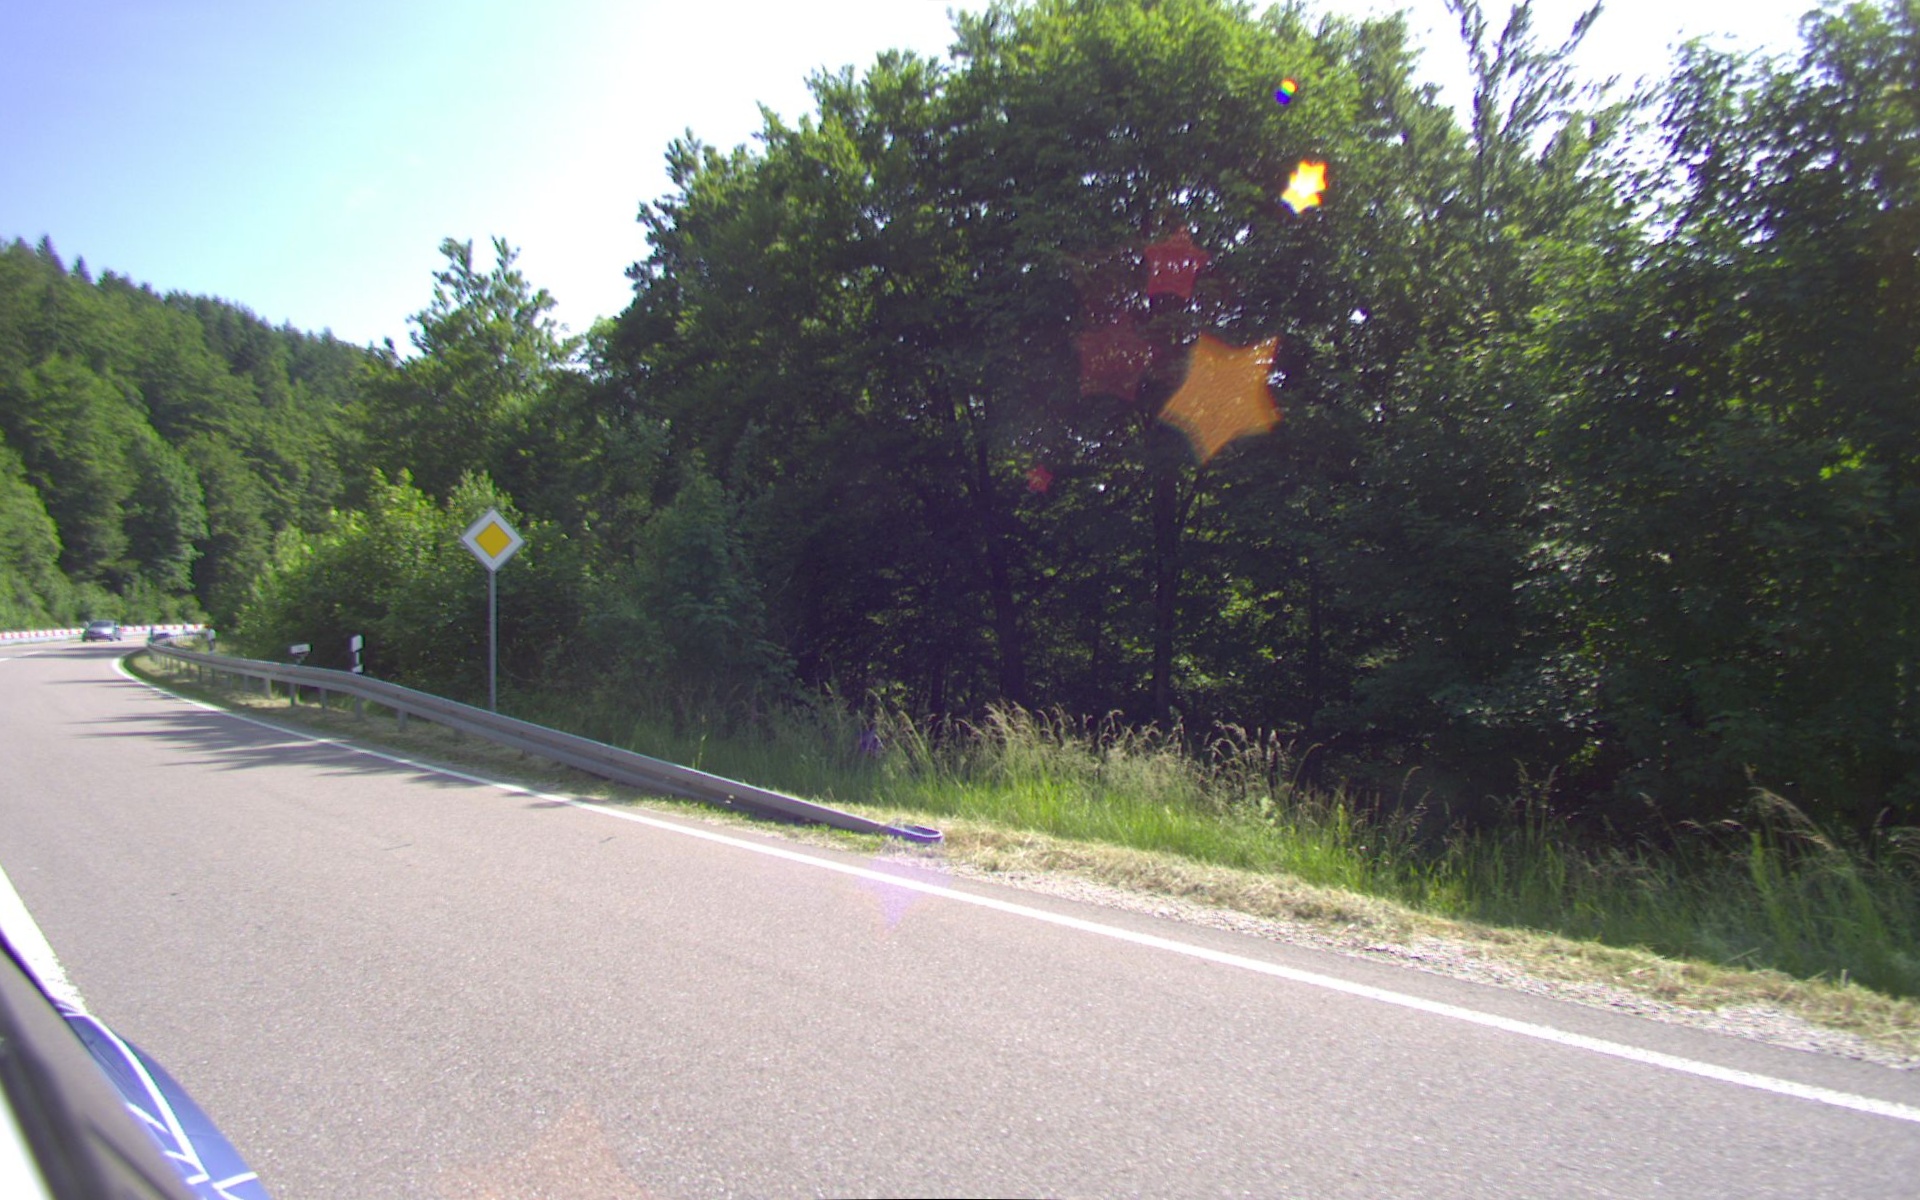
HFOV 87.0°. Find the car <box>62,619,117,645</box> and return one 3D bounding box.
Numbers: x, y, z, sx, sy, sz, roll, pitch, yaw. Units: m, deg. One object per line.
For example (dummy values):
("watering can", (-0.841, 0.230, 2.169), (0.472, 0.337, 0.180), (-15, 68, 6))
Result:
("car", (-59.577, 2.182, 69.321), (1.965, 1.655, 4.013), (-2, 0, -28))
